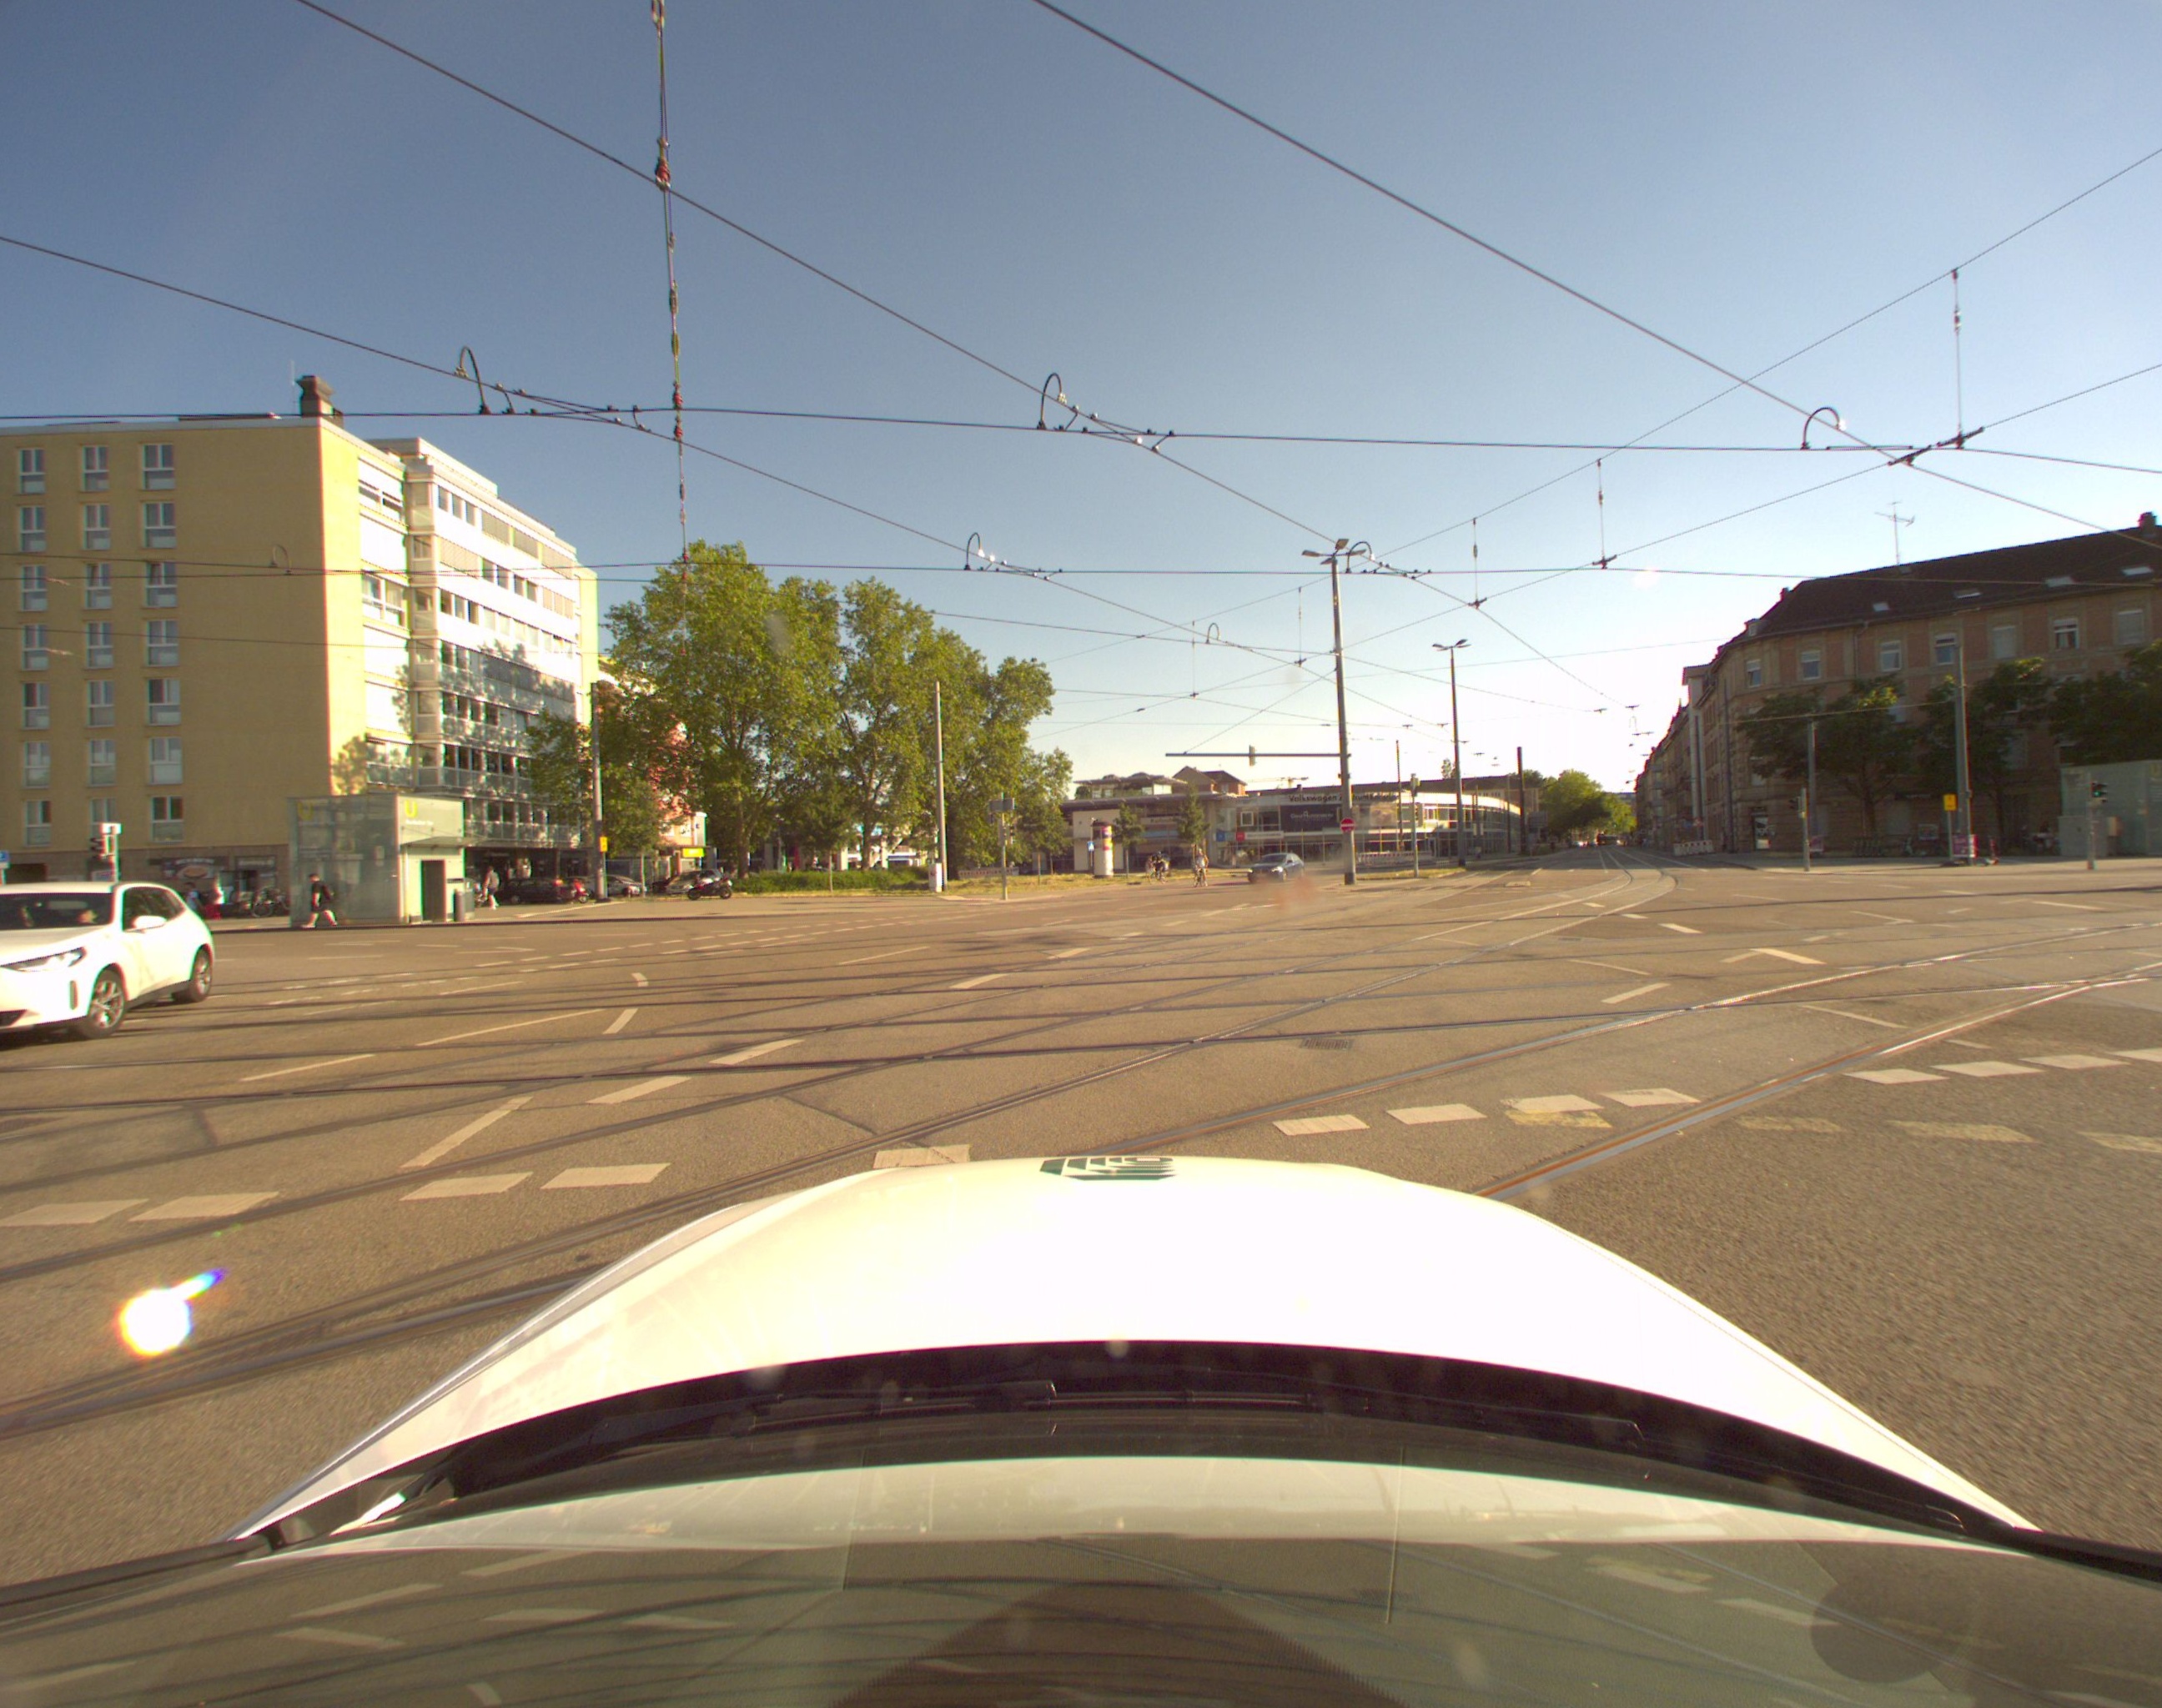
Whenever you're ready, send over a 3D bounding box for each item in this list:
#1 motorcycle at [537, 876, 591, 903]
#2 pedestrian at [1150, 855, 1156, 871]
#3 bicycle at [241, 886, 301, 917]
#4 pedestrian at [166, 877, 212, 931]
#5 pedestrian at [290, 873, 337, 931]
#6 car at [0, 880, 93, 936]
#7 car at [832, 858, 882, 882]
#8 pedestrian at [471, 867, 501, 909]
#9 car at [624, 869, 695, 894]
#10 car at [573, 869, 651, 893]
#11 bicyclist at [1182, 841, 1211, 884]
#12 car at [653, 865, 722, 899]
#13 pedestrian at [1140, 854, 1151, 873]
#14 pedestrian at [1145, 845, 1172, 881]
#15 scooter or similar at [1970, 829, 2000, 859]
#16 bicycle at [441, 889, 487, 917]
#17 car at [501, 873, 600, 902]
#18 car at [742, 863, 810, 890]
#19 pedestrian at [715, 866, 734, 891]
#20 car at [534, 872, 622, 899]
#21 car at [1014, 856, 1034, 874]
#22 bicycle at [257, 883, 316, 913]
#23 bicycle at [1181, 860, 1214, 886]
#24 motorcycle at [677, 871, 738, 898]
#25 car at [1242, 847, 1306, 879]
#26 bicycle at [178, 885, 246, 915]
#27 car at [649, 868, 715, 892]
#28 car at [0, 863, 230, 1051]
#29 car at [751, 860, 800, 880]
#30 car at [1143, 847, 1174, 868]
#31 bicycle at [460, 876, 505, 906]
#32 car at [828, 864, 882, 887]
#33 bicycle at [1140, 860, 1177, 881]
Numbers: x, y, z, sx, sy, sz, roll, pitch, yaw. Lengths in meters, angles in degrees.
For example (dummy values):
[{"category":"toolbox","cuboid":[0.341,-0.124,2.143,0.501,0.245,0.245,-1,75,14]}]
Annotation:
[{"category":"motorcycle","cuboid":[-23.304,1.605,36.714,1.793,1.046,0.880,-3,1,-2]},{"category":"pedestrian","cuboid":[5.936,0.772,67.378,0.408,1.315,0.574,-2,0,10]},{"category":"bicycle","cuboid":[-35.949,2.123,36.151,1.889,1.248,0.659,-2,1,-2]},{"category":"pedestrian","cuboid":[-29.810,1.665,27.223,0.752,1.728,0.694,-2,0,-15]},{"category":"pedestrian","cuboid":[-24.054,1.490,25.541,0.873,1.728,0.787,-2,-1,-31]},{"category":"car","cuboid":[-36.749,1.872,28.531,1.970,1.814,4.201,0,-2,-40]},{"category":"car","cuboid":[-20.227,1.427,73.656,3.975,1.999,1.856,1,1,-1]},{"category":"pedestrian","cuboid":[-25.506,1.447,34.896,0.689,1.728,0.757,-2,-1,23]},{"category":"car","cuboid":[-29.527,1.935,57.072,3.972,1.635,1.857,1,1,1]},{"category":"car","cuboid":[-30.419,1.738,52.876,3.972,1.420,1.857,1,1,1]},{"category":"bicyclist","cuboid":[5.683,0.416,40.005,1.022,2.013,1.150,-4,-1,21]},{"category":"car","cuboid":[-23.353,1.618,48.499,1.908,1.698,4.002,-4,1,2]},{"category":"pedestrian","cuboid":[5.351,0.765,67.474,0.717,1.515,0.834,-2,0,10]},{"category":"pedestrian","cuboid":[4.419,0.488,46.402,1.021,2.013,1.278,1,1,32]},{"category":"scooter or similar","cuboid":[36.614,-0.411,32.976,1.453,1.201,0.722,-1,1,-38]},{"category":"bicycle","cuboid":[-30.474,2.412,40.277,0.811,1.200,1.996,-2,1,-4]},{"category":"car","cuboid":[-29.270,1.850,45.000,4.203,1.483,1.855,1,1,-2]},{"category":"car","cuboid":[-19.281,1.407,51.621,4.000,1.510,1.788,-1,1,-20]},{"category":"pedestrian","cuboid":[-25.948,1.792,59.270,0.880,1.737,0.905,1,1,4]},{"category":"car","cuboid":[-29.440,1.828,47.720,3.972,1.420,1.857,1,1,1]},{"category":"car","cuboid":[-6.045,1.121,86.053,1.794,1.509,3.990,1,5,-9]},{"category":"bicycle","cuboid":[-36.074,1.997,36.986,1.889,1.248,0.659,-2,1,-2]},{"category":"bicycle","cuboid":[5.754,0.918,40.110,1.022,1.123,2.544,-4,-1,21]},{"category":"motorcycle","cuboid":[-16.642,1.354,36.365,2.278,1.074,1.036,-2,1,-14]},{"category":"car","cuboid":[9.719,0.431,40.773,1.974,1.453,4.025,-2,0,30]},{"category":"bicycle","cuboid":[-39.632,2.088,37.149,2.285,1.248,0.659,-2,1,-2]},{"category":"car","cuboid":[-29.527,1.886,60.340,3.972,1.635,1.857,1,1,1]},{"category":"car","cuboid":[-11.798,1.050,9.303,1.950,1.746,4.572,-2,0,-35]},{"category":"car","cuboid":[-29.021,1.529,77.420,3.972,1.780,1.857,1,1,1]},{"category":"car","cuboid":[7.777,0.364,81.441,1.976,2.013,4.021,1,1,22]},{"category":"bicycle","cuboid":[-29.584,1.817,40.279,0.811,1.345,1.996,-2,1,-4]},{"category":"car","cuboid":[-18.951,1.784,68.339,3.975,1.868,1.856,1,1,-1]},{"category":"bicycle","cuboid":[4.453,0.907,46.452,1.021,1.123,2.547,1,1,32]}]
